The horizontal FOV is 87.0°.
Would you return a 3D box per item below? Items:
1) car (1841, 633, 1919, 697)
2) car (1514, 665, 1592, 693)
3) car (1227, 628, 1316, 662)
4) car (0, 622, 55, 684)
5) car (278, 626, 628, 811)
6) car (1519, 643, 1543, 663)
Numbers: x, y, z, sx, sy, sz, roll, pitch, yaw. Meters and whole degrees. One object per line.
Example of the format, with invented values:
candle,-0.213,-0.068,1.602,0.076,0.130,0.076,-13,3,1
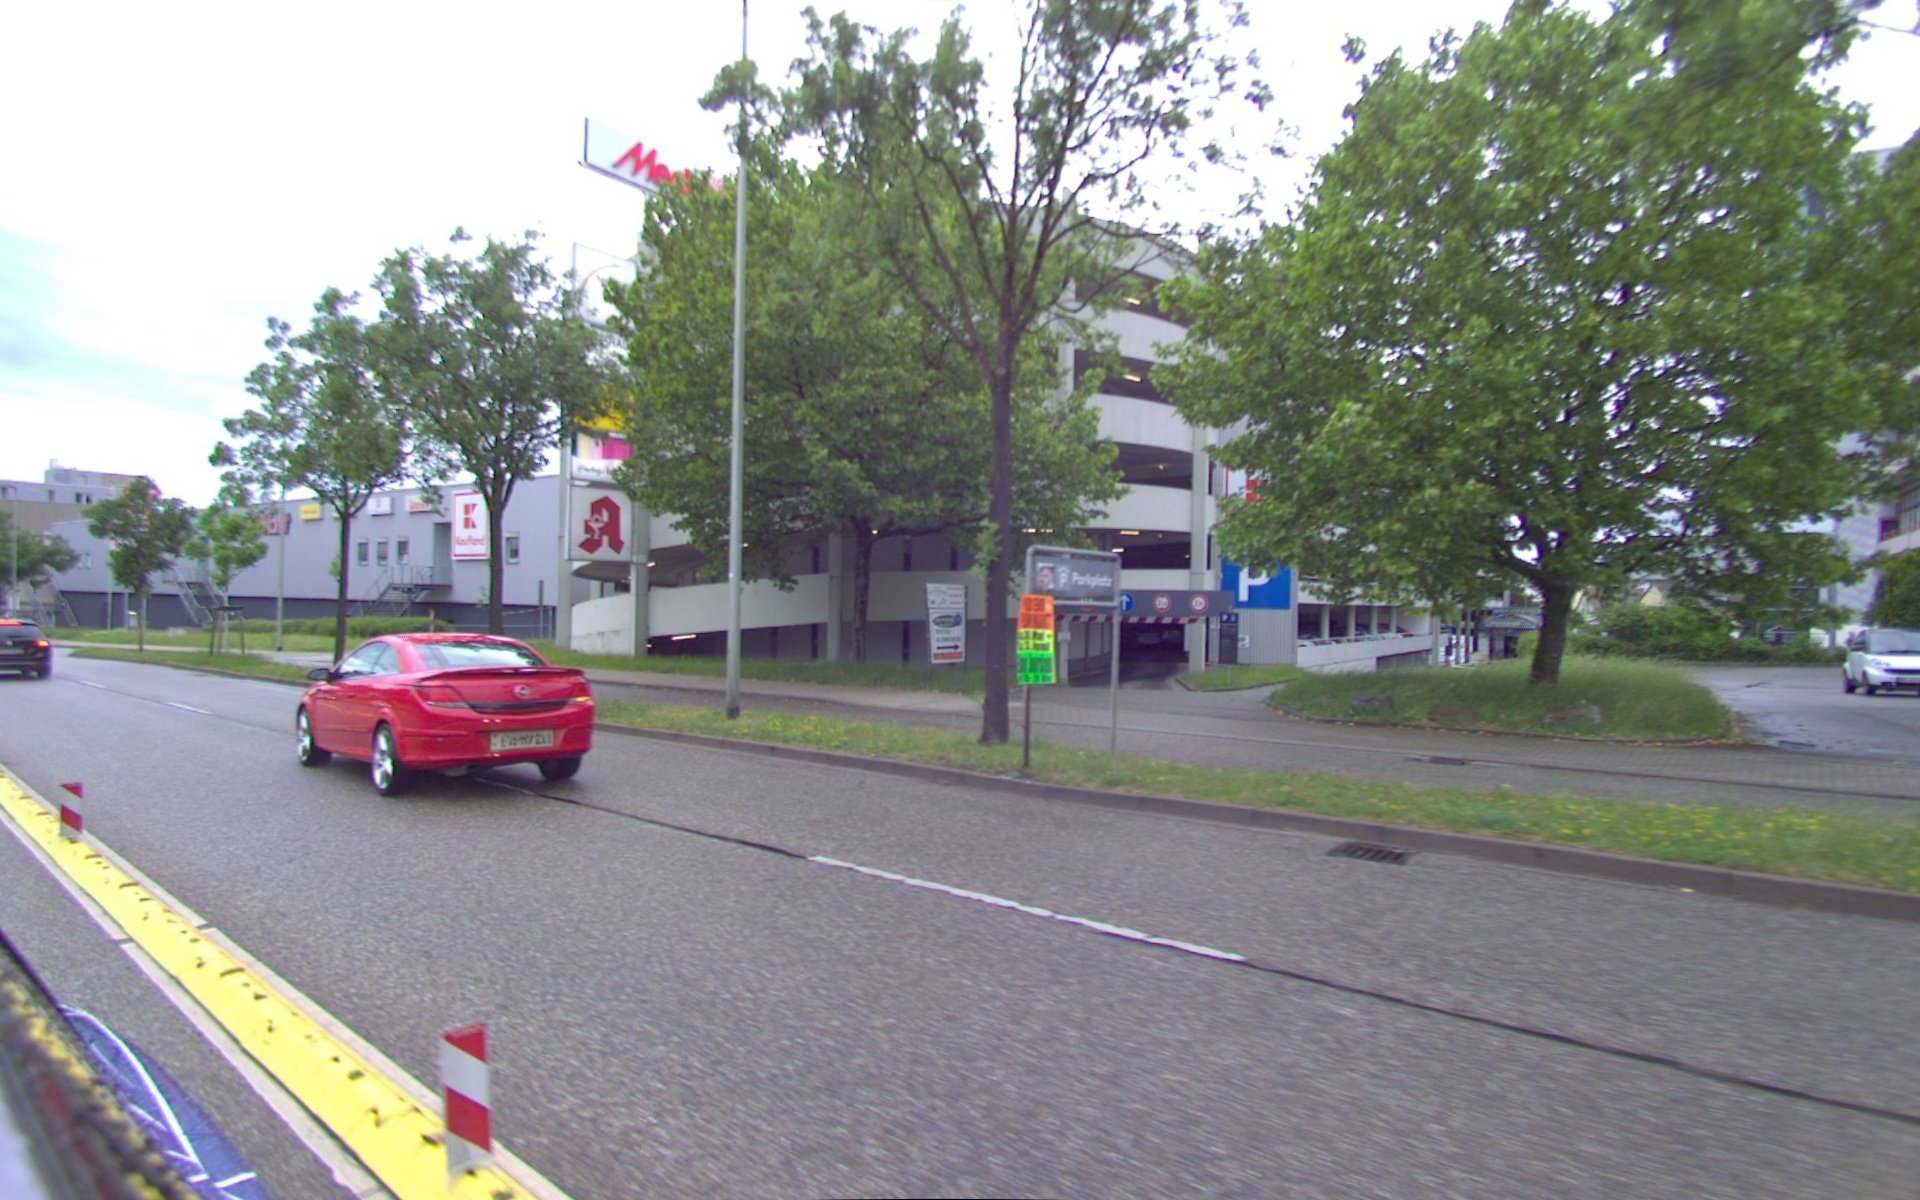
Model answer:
car,21.453,1.456,22.996,1.604,1.376,2.676,-3,-4,30
car,36.407,4.810,62.150,3.990,1.522,1.779,-1,-2,35
car,15.272,2.190,49.693,3.787,1.473,1.754,-1,1,-3
car,-24.404,1.277,25.452,4.613,1.477,1.808,-1,-3,41
car,-5.124,0.998,9.959,4.180,1.436,1.742,-2,-3,43
car,59.421,5.503,105.277,1.864,2.029,3.954,-1,-2,34
